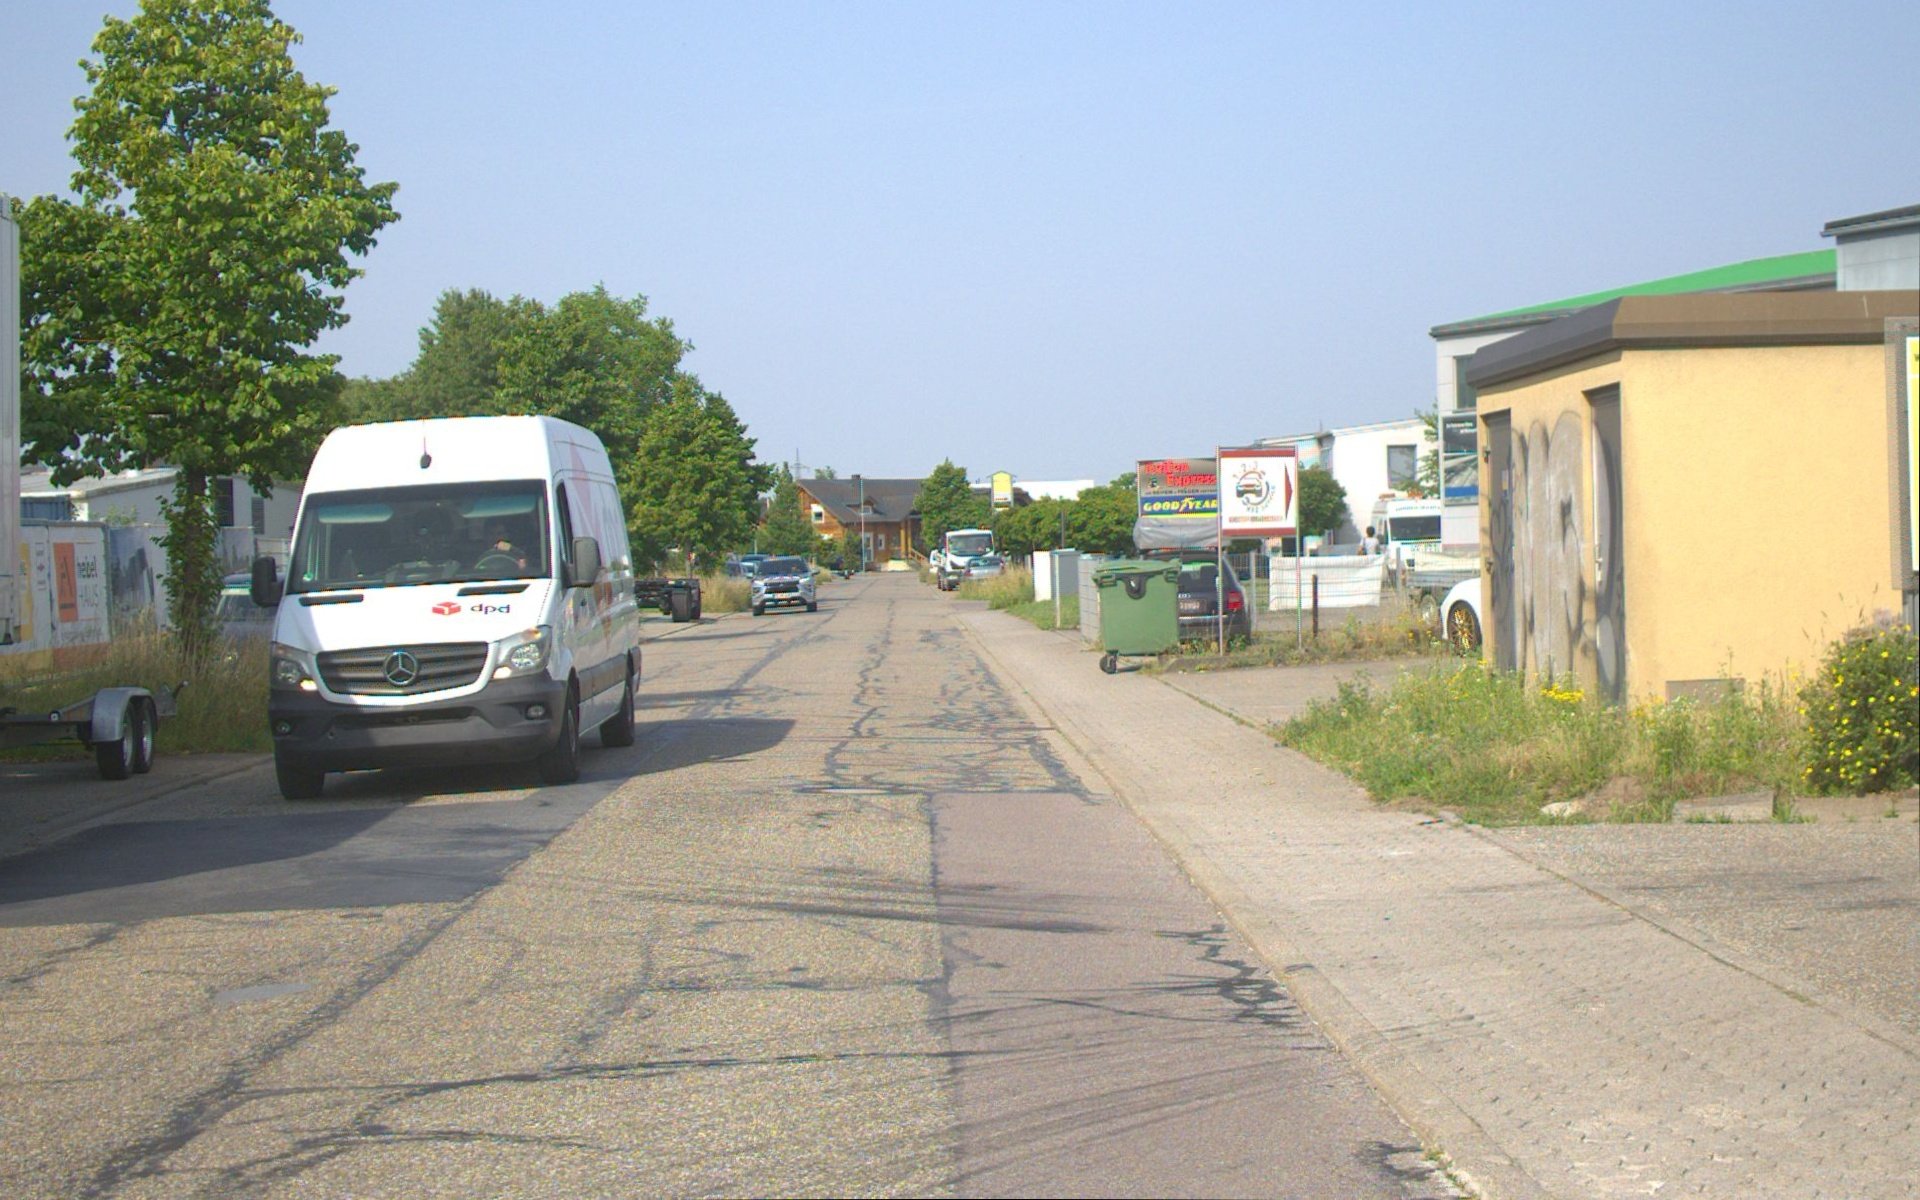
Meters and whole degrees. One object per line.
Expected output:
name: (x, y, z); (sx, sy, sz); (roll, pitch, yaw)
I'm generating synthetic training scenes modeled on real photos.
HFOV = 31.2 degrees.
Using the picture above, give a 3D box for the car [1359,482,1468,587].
car: (12.278, -1.768, 93.405); (1.974, 2.696, 5.881); (-2, 1, -1)

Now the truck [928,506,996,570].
truck: (0.052, -2.705, 149.423); (2.359, 2.672, 6.512); (-2, 1, -4)

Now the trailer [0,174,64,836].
trailer: (-6.896, -0.502, 16.661); (2.700, 3.871, 9.766); (0, 1, -1)

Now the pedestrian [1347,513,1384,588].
pedestrian: (9.020, -1.097, 76.444); (0.702, 1.634, 0.749); (-2, 1, 1)

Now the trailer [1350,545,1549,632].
trailer: (7.232, -0.189, 50.994); (1.490, 1.244, 2.978); (-1, 1, -27)

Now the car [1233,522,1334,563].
car: (13.537, -2.410, 143.707); (1.686, 1.583, 4.522); (-1, 1, 45)

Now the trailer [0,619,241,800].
trailer: (-7.076, 0.747, 24.689); (2.648, 0.982, 6.244); (-2, 1, -2)

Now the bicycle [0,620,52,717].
bicycle: (-10.479, 0.746, 37.445); (0.562, 0.969, 2.453); (-2, 1, -2)

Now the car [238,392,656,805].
car: (-3.567, -0.074, 25.320); (1.993, 2.538, 6.990); (-3, 1, -1)

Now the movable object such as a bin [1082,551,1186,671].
movable object such as a bin: (2.086, 0.117, 41.450); (1.081, 1.348, 1.506); (-4, 1, 0)

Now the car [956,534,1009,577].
car: (0.807, -1.645, 125.600); (1.794, 1.512, 4.424); (-2, 1, -1)

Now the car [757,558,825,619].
car: (-4.856, -0.352, 99.327); (1.811, 1.621, 4.250); (-2, 1, -2)

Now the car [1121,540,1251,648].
car: (3.112, -0.119, 47.357); (1.674, 1.364, 4.393); (-2, 1, 4)

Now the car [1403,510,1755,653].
car: (6.832, -0.206, 38.405); (1.687, 1.461, 4.263); (-2, 1, -25)

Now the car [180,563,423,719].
car: (-6.814, 0.382, 35.958); (1.687, 1.465, 4.093); (-2, 1, 0)
